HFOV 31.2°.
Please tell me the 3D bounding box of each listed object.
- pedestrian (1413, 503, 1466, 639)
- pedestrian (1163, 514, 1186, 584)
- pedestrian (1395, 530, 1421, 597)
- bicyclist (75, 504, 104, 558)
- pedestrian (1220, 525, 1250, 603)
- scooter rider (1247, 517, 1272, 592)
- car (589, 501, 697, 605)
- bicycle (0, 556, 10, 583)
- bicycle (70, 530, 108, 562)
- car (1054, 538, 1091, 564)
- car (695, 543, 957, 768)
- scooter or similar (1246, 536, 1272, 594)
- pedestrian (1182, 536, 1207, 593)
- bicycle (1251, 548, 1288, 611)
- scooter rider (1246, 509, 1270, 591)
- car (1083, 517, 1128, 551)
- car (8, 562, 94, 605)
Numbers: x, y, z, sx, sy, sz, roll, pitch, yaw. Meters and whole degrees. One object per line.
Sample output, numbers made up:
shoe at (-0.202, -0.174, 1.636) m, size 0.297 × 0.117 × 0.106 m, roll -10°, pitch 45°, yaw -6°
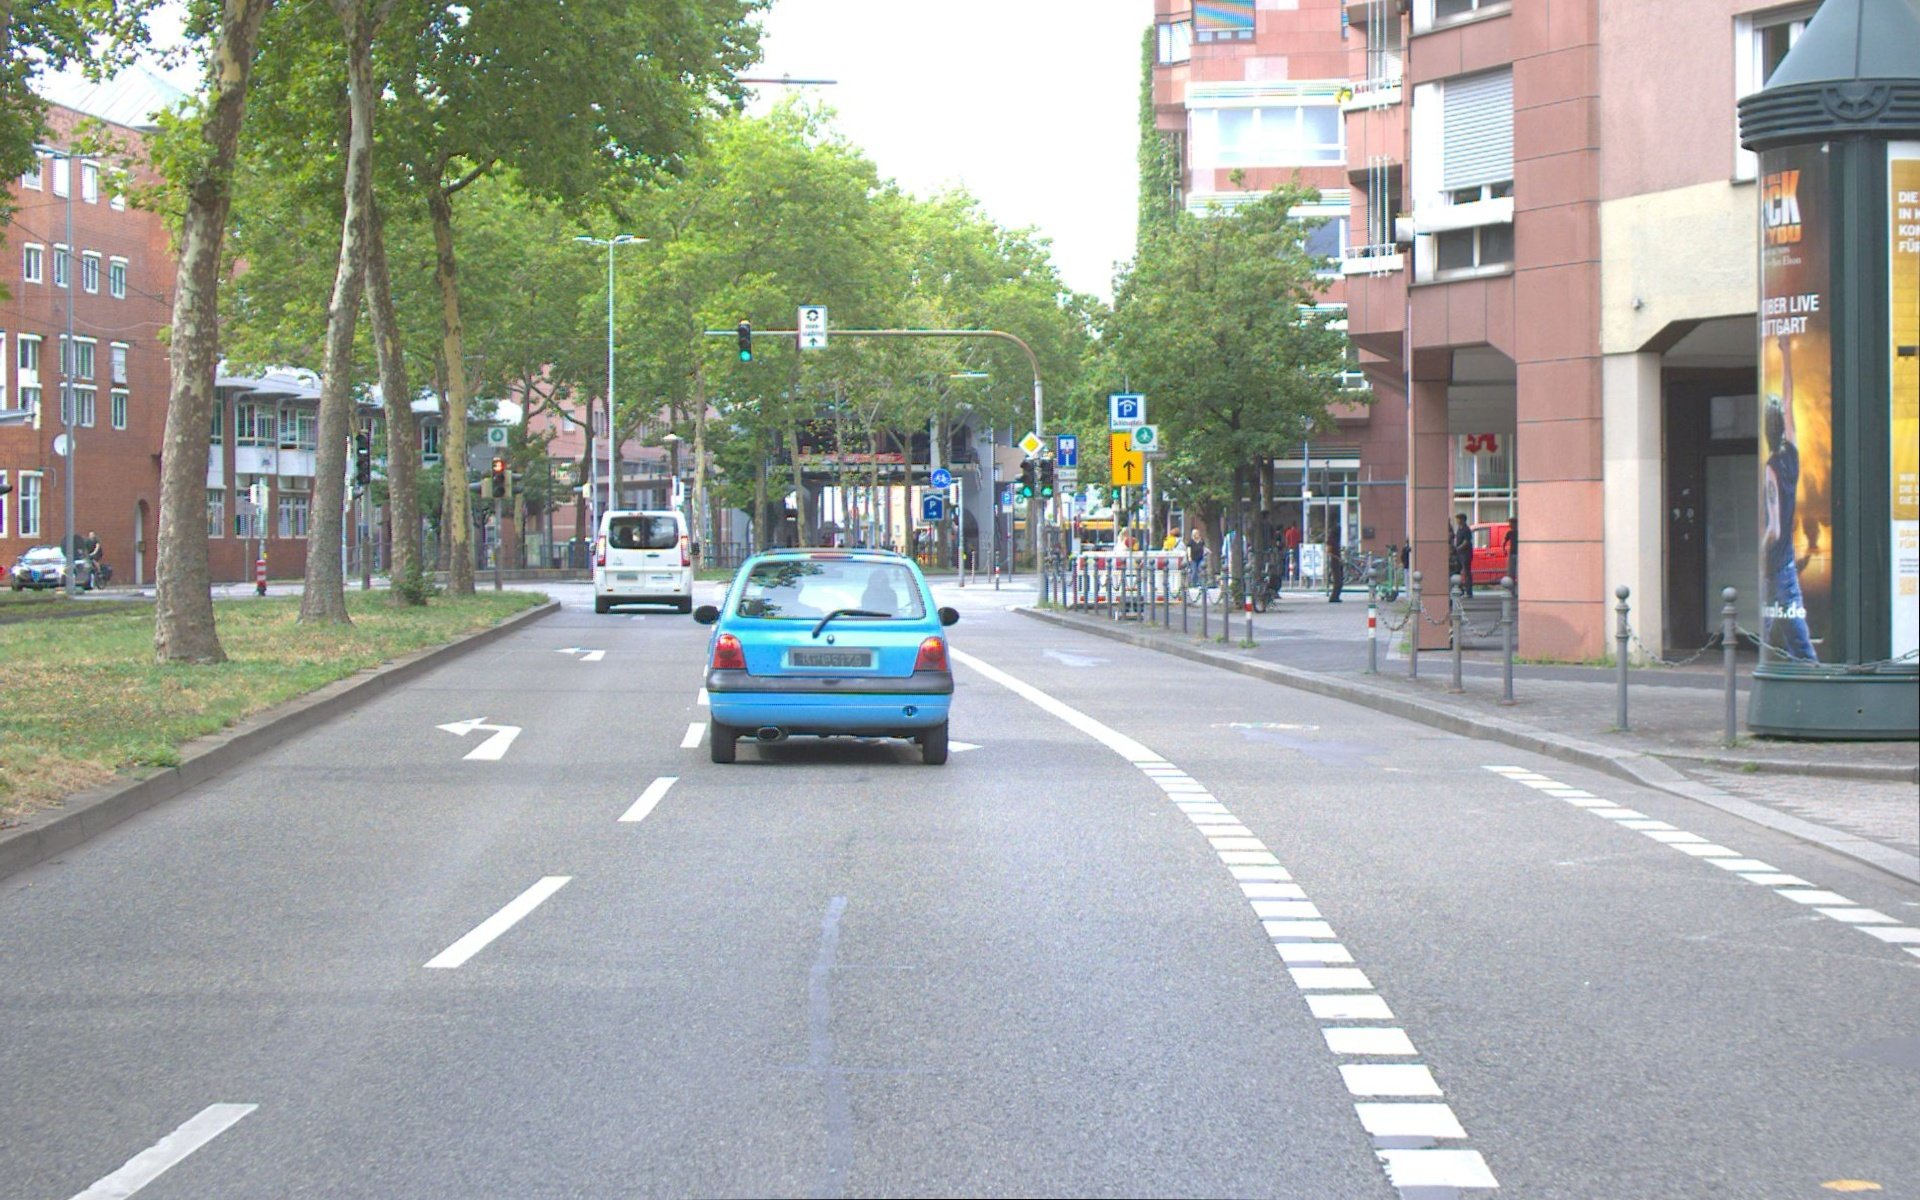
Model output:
pedestrian at (5.893, -0.360, 42.262) m, size 0.544 × 1.644 × 0.824 m, roll 0°, pitch 1°, yaw 15°
pedestrian at (4.975, -1.180, 79.765) m, size 0.517 × 1.610 × 0.851 m, roll 0°, pitch 1°, yaw 3°
pedestrian at (8.872, -0.725, 68.044) m, size 0.487 × 1.319 × 0.485 m, roll 0°, pitch 1°, yaw 11°
bicyclist at (-29.599, -2.352, 116.938) m, size 0.667 × 1.842 × 1.081 m, roll -1°, pitch 1°, yaw 1°
pedestrian at (6.454, -0.852, 80.729) m, size 0.676 × 1.822 × 0.851 m, roll 0°, pitch 1°, yaw 3°
scooter rider at (6.241, -0.954, 71.647) m, size 0.460 × 1.552 × 0.565 m, roll 0°, pitch 1°, yaw 1°
car at (-6.082, -0.929, 66.325) m, size 1.931 × 1.919 × 4.956 m, roll 0°, pitch 1°, yaw -4°
bicycle at (-30.863, -0.951, 107.805) m, size 1.982 × 0.833 × 0.579 m, roll -1°, pitch 1°, yaw -40°
bicycle at (-29.587, -1.837, 116.864) m, size 0.677 × 1.089 × 2.209 m, roll -1°, pitch 1°, yaw 1°
car at (7.045, -3.050, 215.759) m, size 1.887 × 1.618 × 3.999 m, roll 0°, pitch 1°, yaw 8°
car at (-0.949, 0.318, 23.528) m, size 1.640 × 1.381 × 3.843 m, roll 0°, pitch 1°, yaw -3°
scooter or similar at (6.250, -0.740, 71.939) m, size 0.474 × 1.202 × 1.330 m, roll 0°, pitch 1°, yaw 2°
pedestrian at (6.333, -0.972, 92.830) m, size 0.675 × 1.533 × 0.947 m, roll 0°, pitch 1°, yaw 4°
bicycle at (5.544, -0.374, 61.573) m, size 0.612 × 1.114 × 1.804 m, roll 0°, pitch 1°, yaw 4°
scooter rider at (6.265, -1.045, 72.248) m, size 0.462 × 1.714 × 0.553 m, roll 0°, pitch 1°, yaw 0°
car at (6.931, -3.165, 163.520) m, size 1.699 × 1.596 × 3.999 m, roll 0°, pitch 1°, yaw 8°
car at (-27.517, -0.517, 104.174) m, size 1.729 × 1.241 × 4.535 m, roll 0°, pitch 1°, yaw -4°
